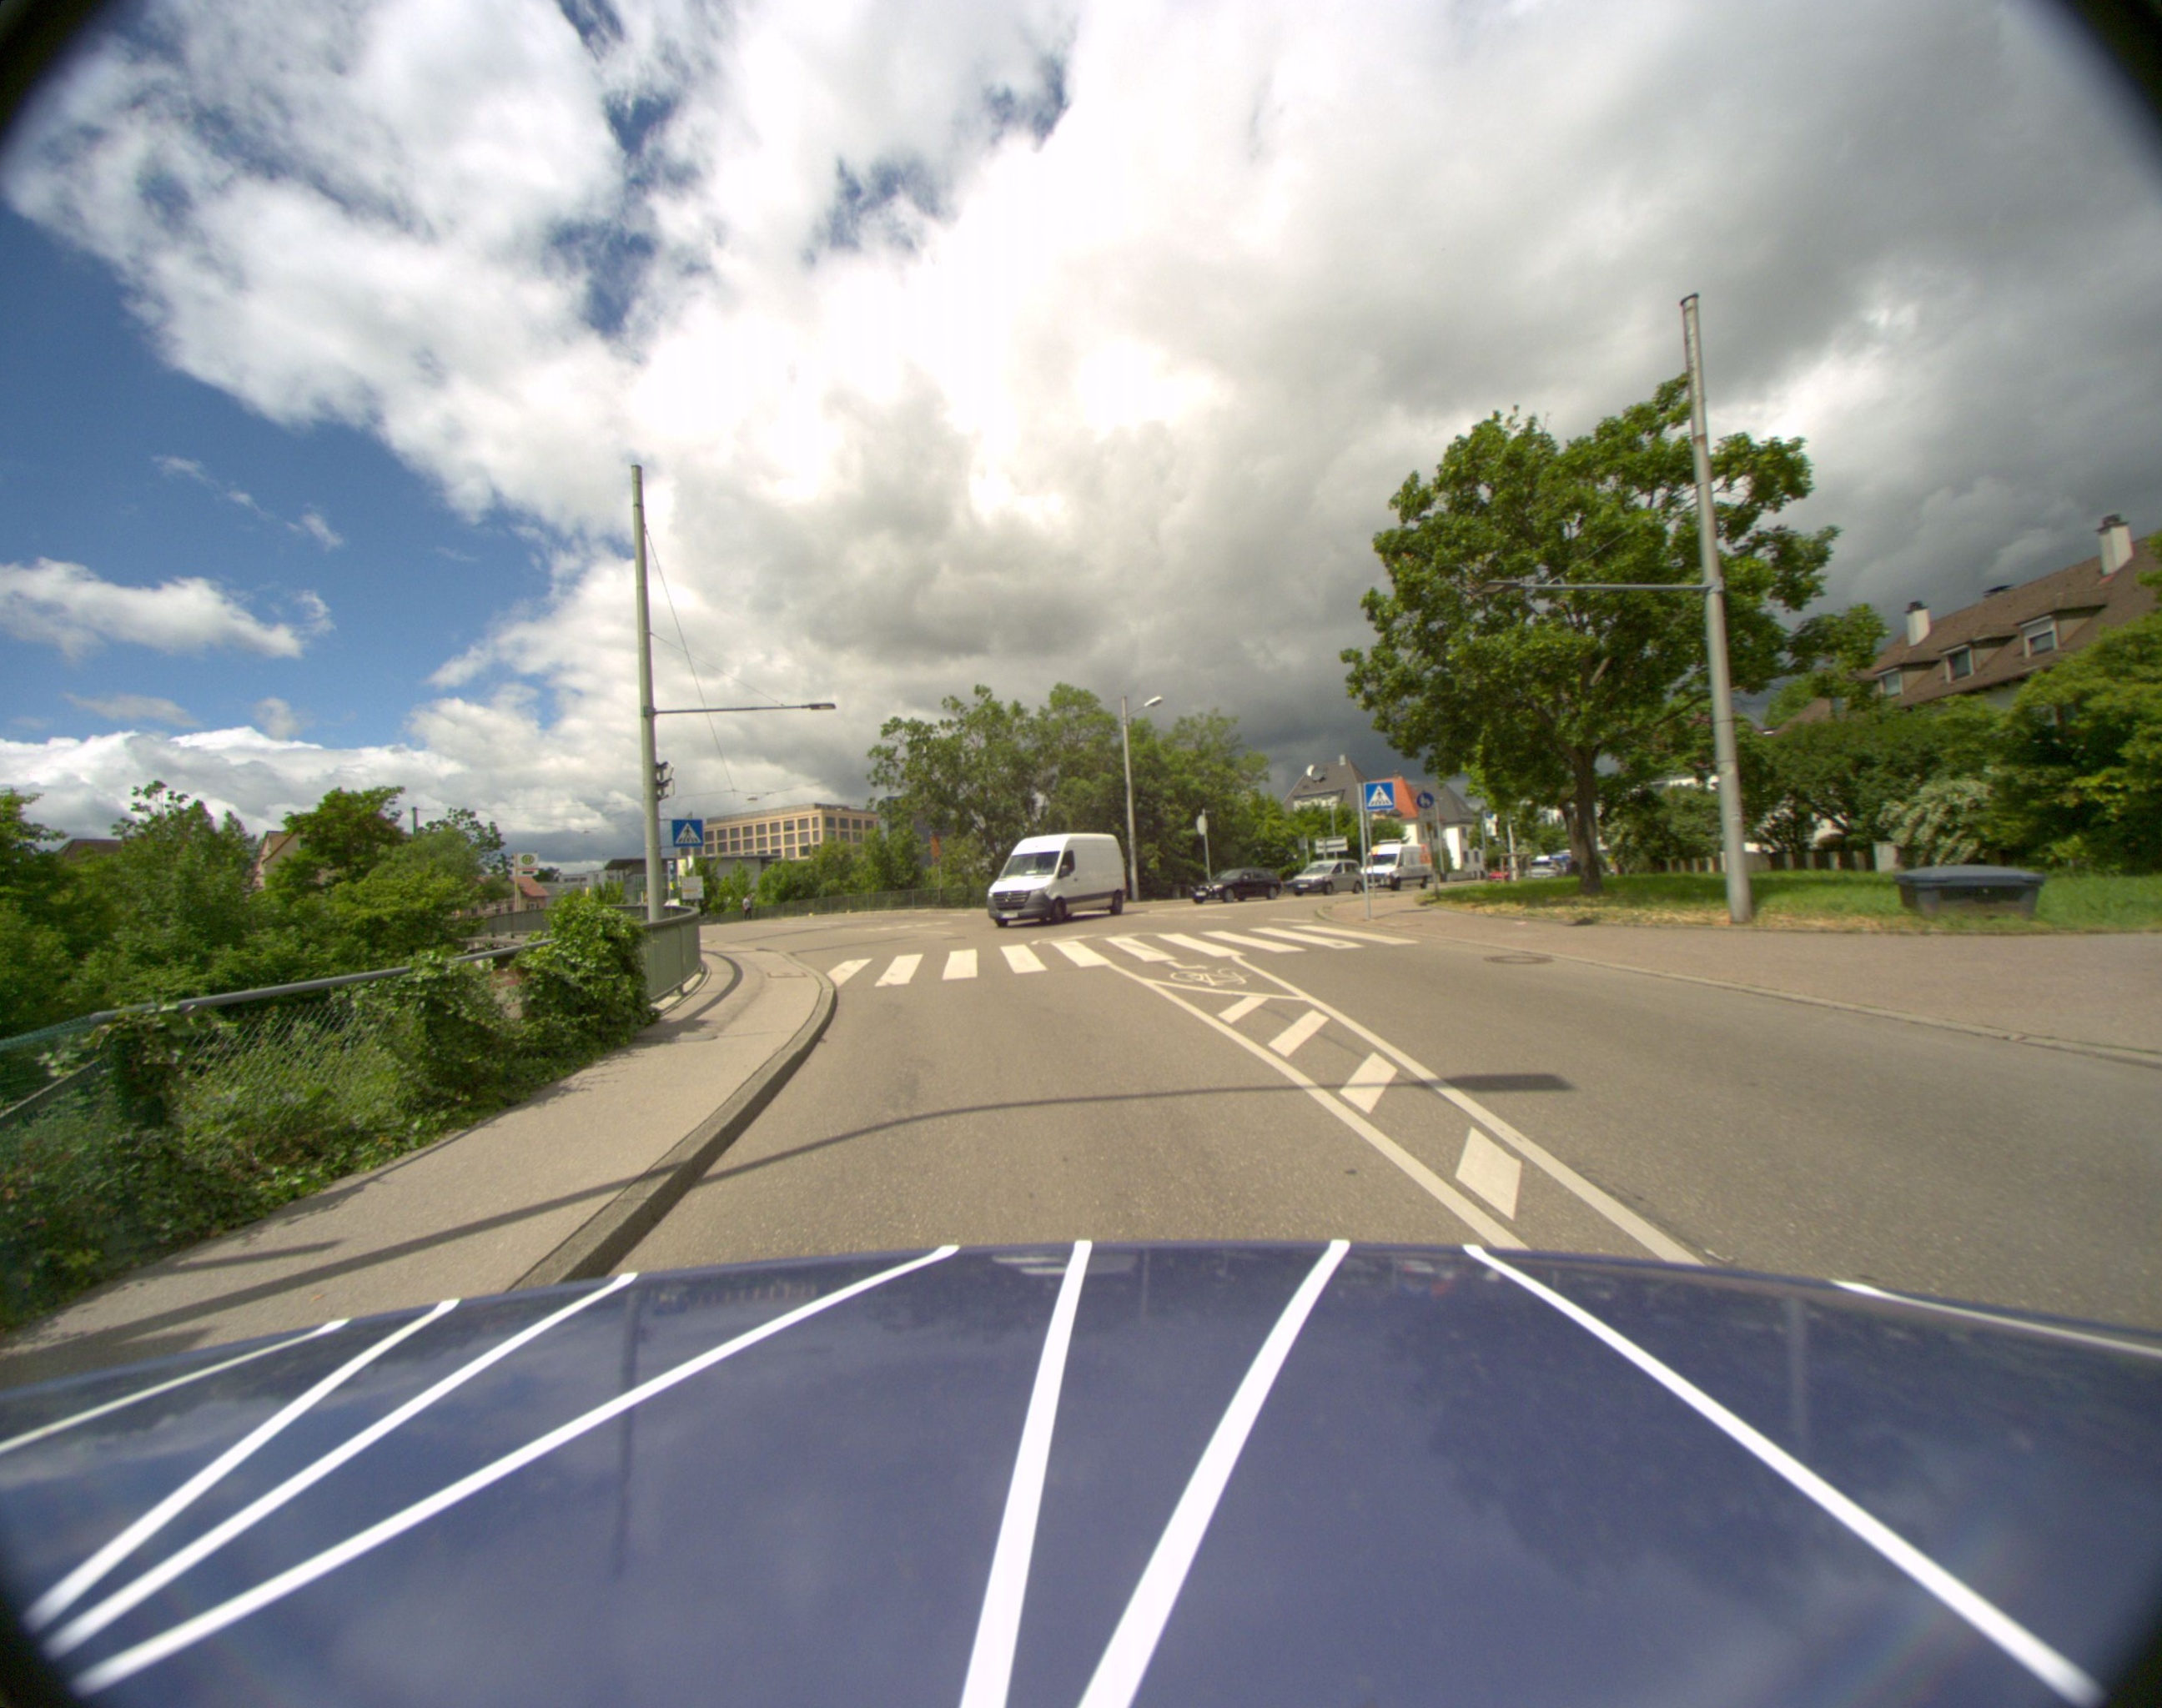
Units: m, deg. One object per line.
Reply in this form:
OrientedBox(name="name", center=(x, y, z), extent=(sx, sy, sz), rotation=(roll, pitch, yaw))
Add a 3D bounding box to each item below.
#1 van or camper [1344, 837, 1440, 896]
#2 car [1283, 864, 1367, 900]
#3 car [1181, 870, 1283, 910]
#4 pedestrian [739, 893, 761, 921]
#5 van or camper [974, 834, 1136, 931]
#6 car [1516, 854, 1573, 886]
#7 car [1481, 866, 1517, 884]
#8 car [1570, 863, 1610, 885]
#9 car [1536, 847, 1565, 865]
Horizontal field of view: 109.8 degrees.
OrientedBox(name="van or camper", center=(17.838, 0.828, 43.226), extent=(2.266, 2.975, 8.347), rotation=(-5, -6, 41))
OrientedBox(name="car", center=(12.148, 1.380, 37.731), extent=(4.411, 1.577, 1.995), rotation=(0, -4, -44))
OrientedBox(name="car", center=(6.362, 1.475, 31.787), extent=(4.238, 1.465, 1.995), rotation=(0, -4, -42))
OrientedBox(name="pedestrian", center=(-23.041, 3.692, 52.853), extent=(1.001, 1.825, 1.035), rotation=(-4, -3, -41))
OrientedBox(name="van or camper", center=(-0.570, 0.822, 22.992), extent=(2.188, 2.551, 5.940), rotation=(-2, -2, 27))
OrientedBox(name="car", center=(30.301, 1.043, 49.634), extent=(2.227, 1.796, 4.410), rotation=(-5, -2, 43))
OrientedBox(name="car", center=(40.779, 2.003, 74.060), extent=(1.995, 1.577, 4.411), rotation=(-5, -4, 43))
OrientedBox(name="car", center=(42.972, 1.702, 64.133), extent=(1.995, 1.578, 4.410), rotation=(-5, -2, 43))
OrientedBox(name="car", center=(55.369, 0.263, 89.627), extent=(1.995, 1.916, 4.411), rotation=(-5, -4, 43))
